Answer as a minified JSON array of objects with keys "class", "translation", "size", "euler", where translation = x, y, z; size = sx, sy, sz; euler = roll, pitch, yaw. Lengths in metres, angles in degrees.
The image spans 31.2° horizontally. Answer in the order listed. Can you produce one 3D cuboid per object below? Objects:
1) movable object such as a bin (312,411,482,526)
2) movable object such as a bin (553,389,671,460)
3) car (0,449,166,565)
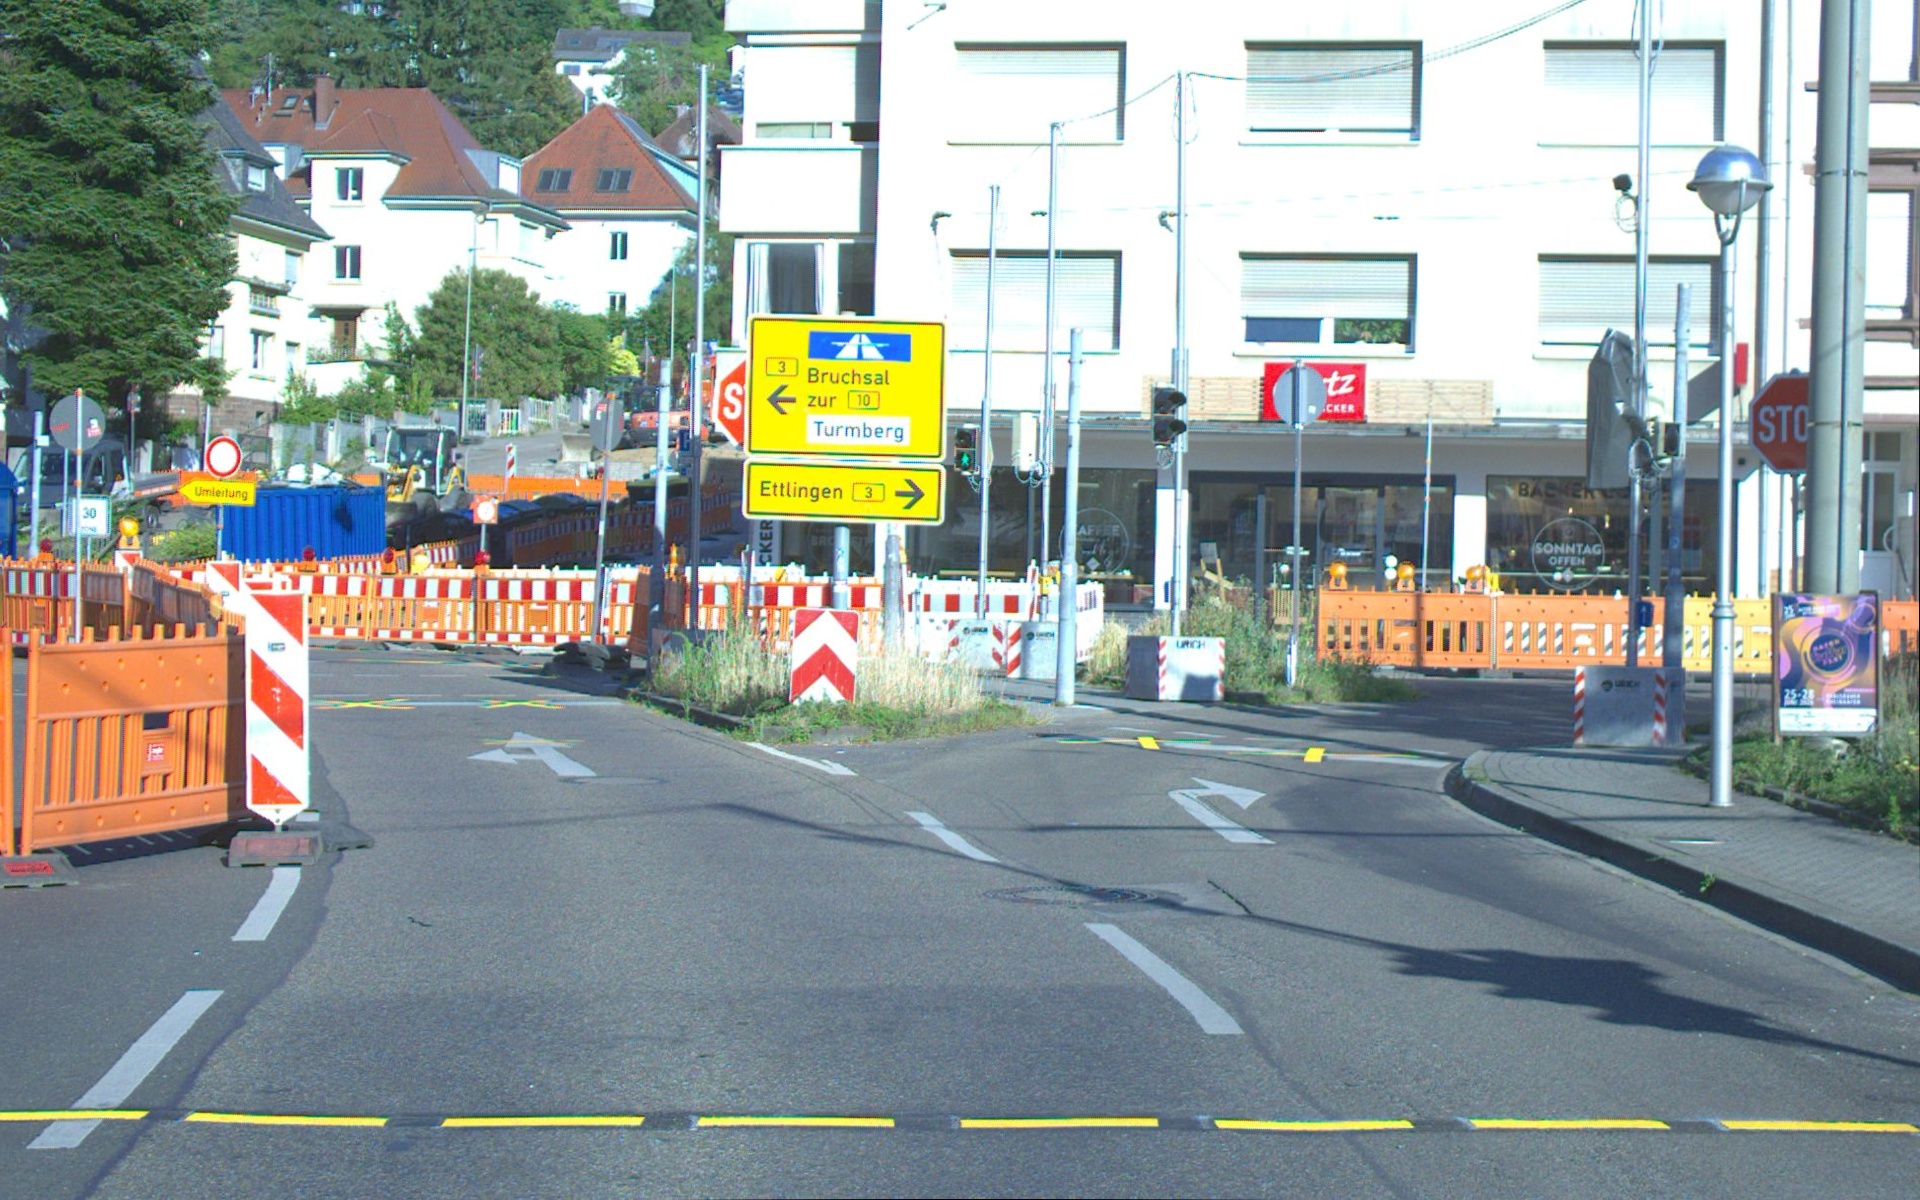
[{"class":"movable object such as a bin","translation":[-12.887,-2.985,78.951],"size":[1.950,2.486,4.547],"euler":[1,1,18]},{"class":"movable object such as a bin","translation":[-11.589,-5.831,114.846],"size":[2.566,2.114,5.782],"euler":[1,1,8]},{"class":"car","translation":[-18.023,-1.751,66.144],"size":[2.585,2.113,6.145],"euler":[1,1,18]}]
